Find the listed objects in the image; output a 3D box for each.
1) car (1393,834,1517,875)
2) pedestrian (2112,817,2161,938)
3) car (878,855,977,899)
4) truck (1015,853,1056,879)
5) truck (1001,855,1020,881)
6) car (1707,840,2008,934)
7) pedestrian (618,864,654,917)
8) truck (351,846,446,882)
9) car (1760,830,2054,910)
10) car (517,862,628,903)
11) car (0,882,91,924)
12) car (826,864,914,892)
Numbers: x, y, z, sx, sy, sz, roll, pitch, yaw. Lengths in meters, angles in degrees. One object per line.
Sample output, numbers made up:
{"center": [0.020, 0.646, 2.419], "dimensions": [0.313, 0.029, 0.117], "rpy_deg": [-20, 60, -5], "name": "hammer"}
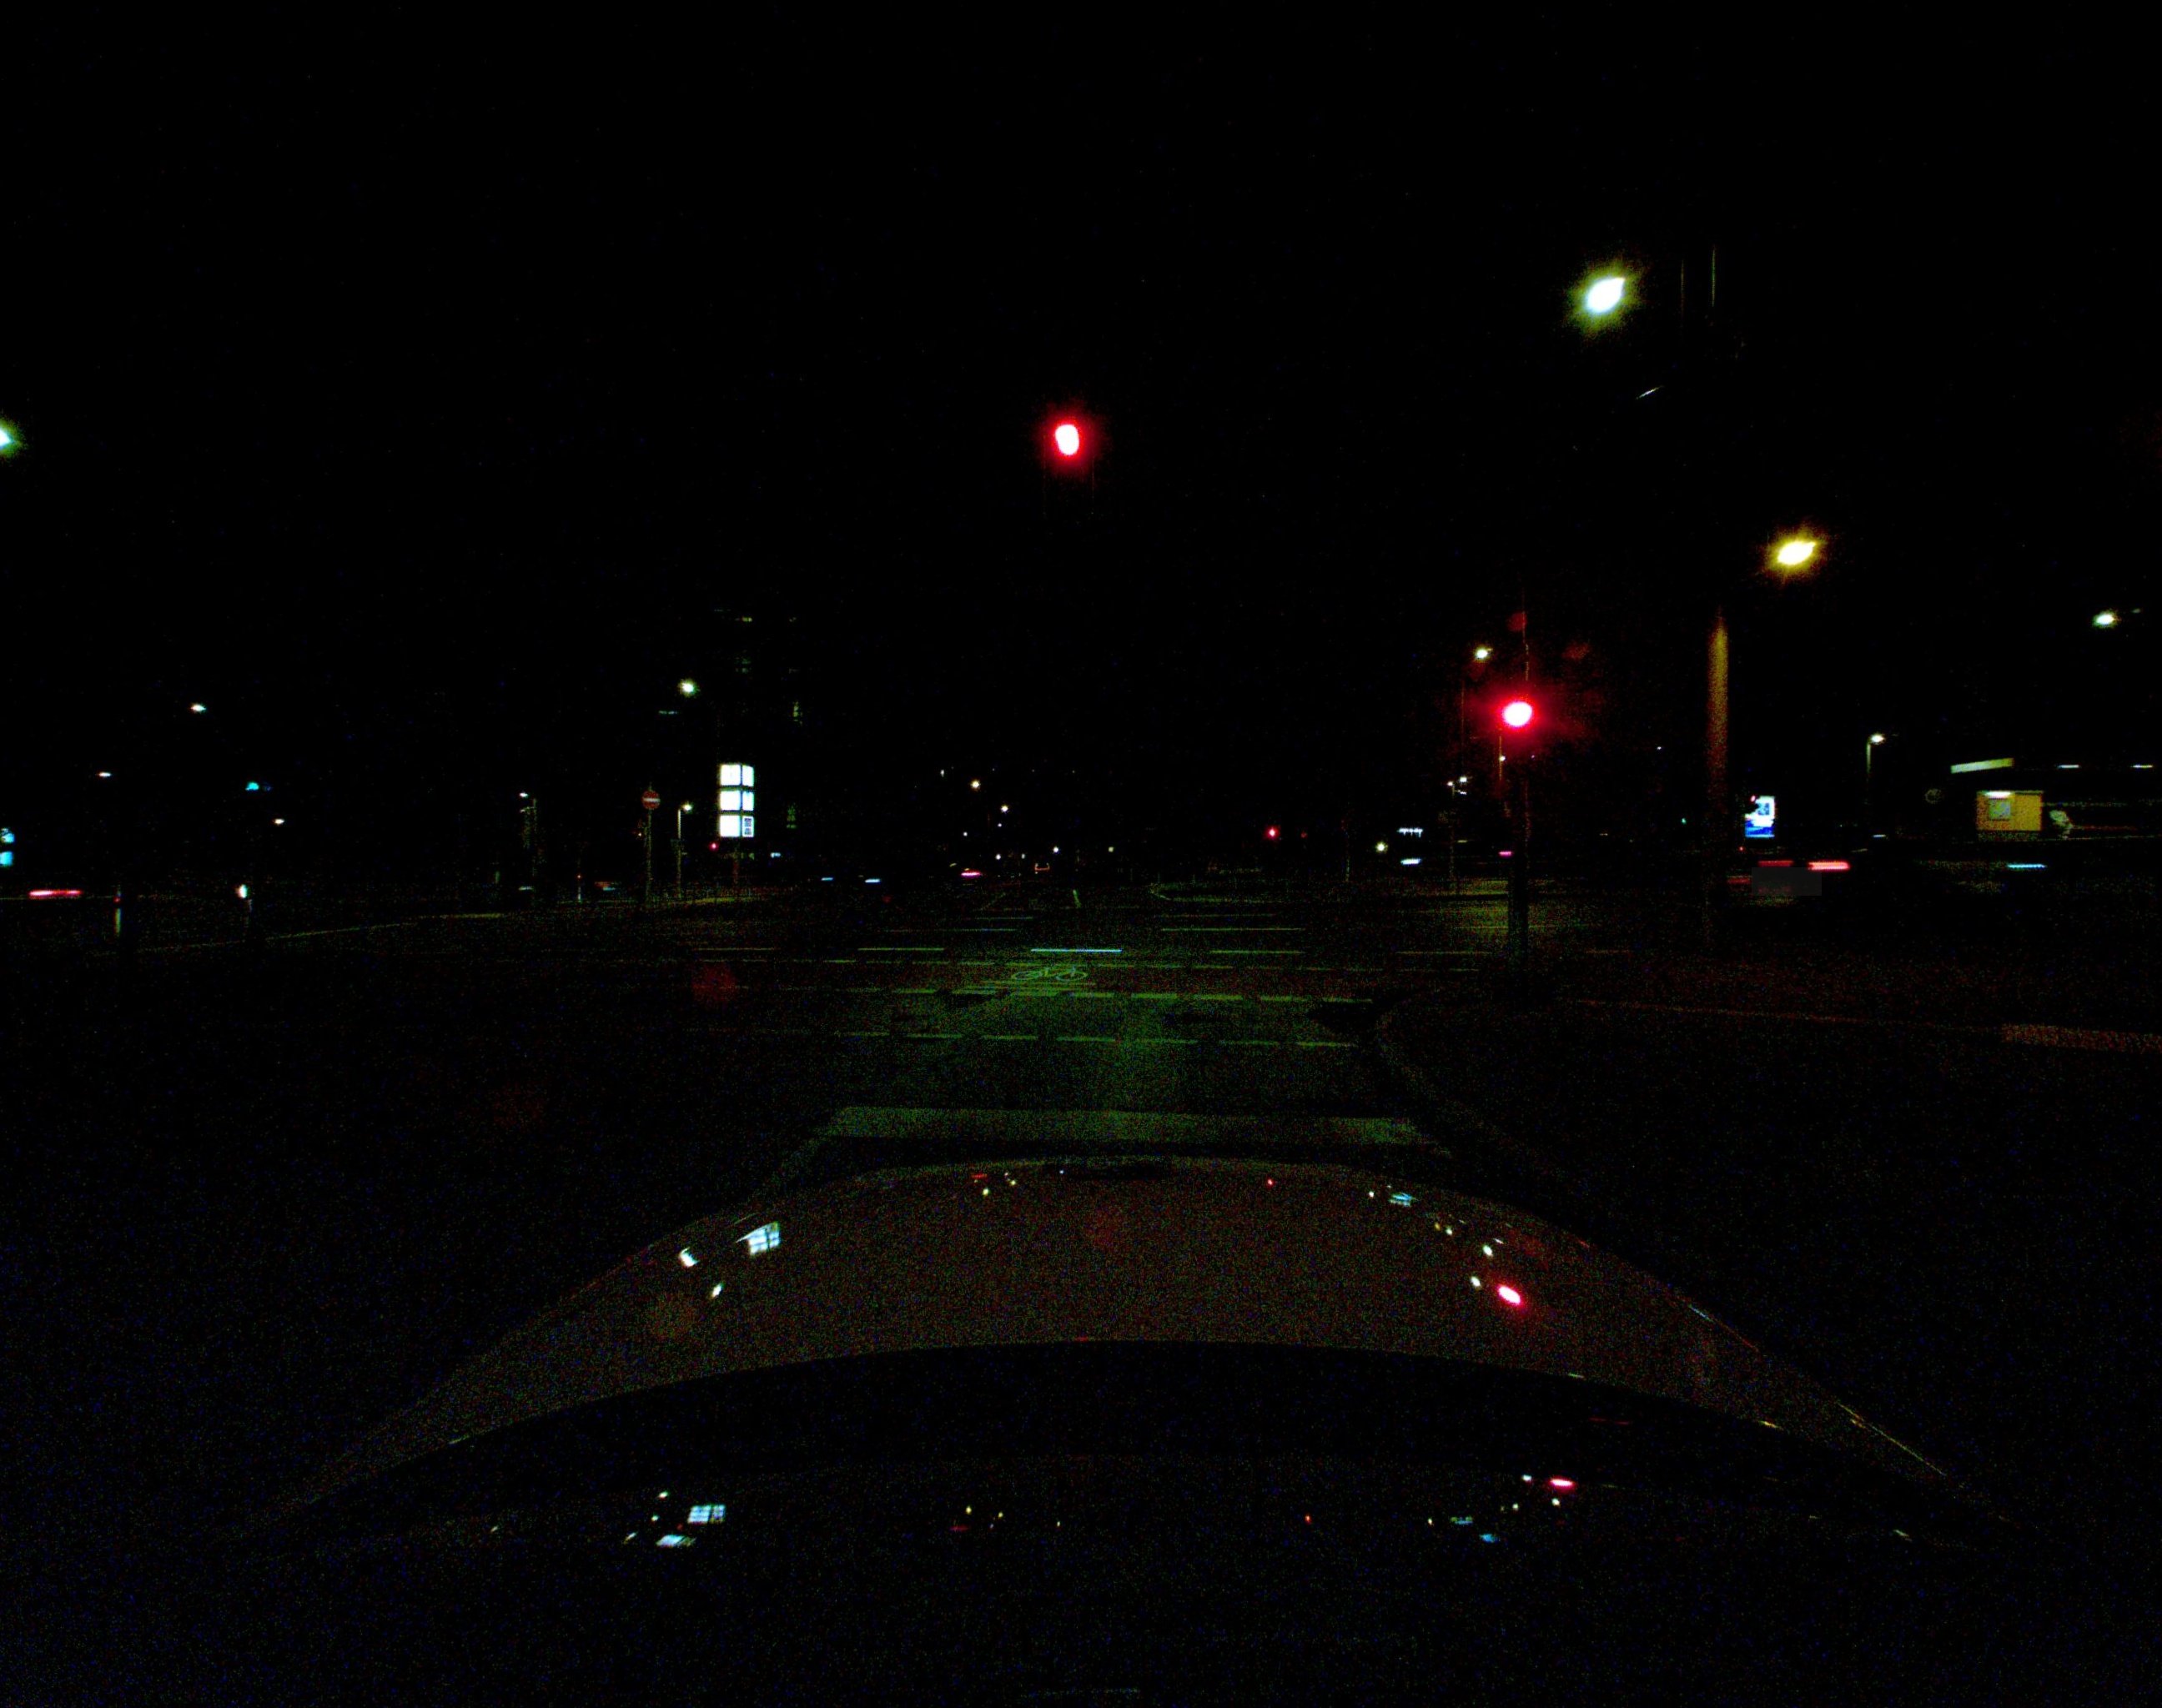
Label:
{"center": [16.507, 0.022, 36.138], "dimensions": [4.595, 1.728, 2.003], "rpy_deg": [0, -1, 5], "name": "car"}
{"center": [15.876, 0.324, 11.751], "dimensions": [0.752, 1.745, 0.834], "rpy_deg": [-3, -3, 1], "name": "pedestrian"}
{"center": [-7.134, 1.067, 38.151], "dimensions": [4.163, 1.975, 2.002], "rpy_deg": [0, -1, 4], "name": "car"}
{"center": [-8.549, 2.228, 151.649], "dimensions": [4.835, 4.547, 12.591], "rpy_deg": [0, -1, -17], "name": "truck"}
{"center": [-10.440, 1.961, 119.715], "dimensions": [2.580, 3.707, 5.723], "rpy_deg": [0, -1, -7], "name": "truck"}
{"center": [14.077, 0.566, 14.944], "dimensions": [3.812, 1.506, 1.689], "rpy_deg": [-2, 1, 4], "name": "car"}
{"center": [-13.875, 1.119, 25.409], "dimensions": [0.667, 1.634, 0.862], "rpy_deg": [0, -1, -3], "name": "pedestrian"}
{"center": [-59.674, 0.878, 71.293], "dimensions": [5.873, 3.088, 2.915], "rpy_deg": [0, -1, 3], "name": "truck"}
{"center": [18.035, 0.325, 17.972], "dimensions": [4.489, 1.564, 1.816], "rpy_deg": [-1, 2, 4], "name": "car"}
{"center": [-24.573, 1.366, 39.463], "dimensions": [4.137, 1.813, 1.843], "rpy_deg": [1, -1, 2], "name": "car"}
{"center": [-55.404, 2.590, 43.064], "dimensions": [3.966, 2.014, 2.004], "rpy_deg": [-3, -1, 6], "name": "car"}
{"center": [-10.709, 1.197, 41.504], "dimensions": [3.971, 1.387, 1.866], "rpy_deg": [0, -1, 2], "name": "car"}
